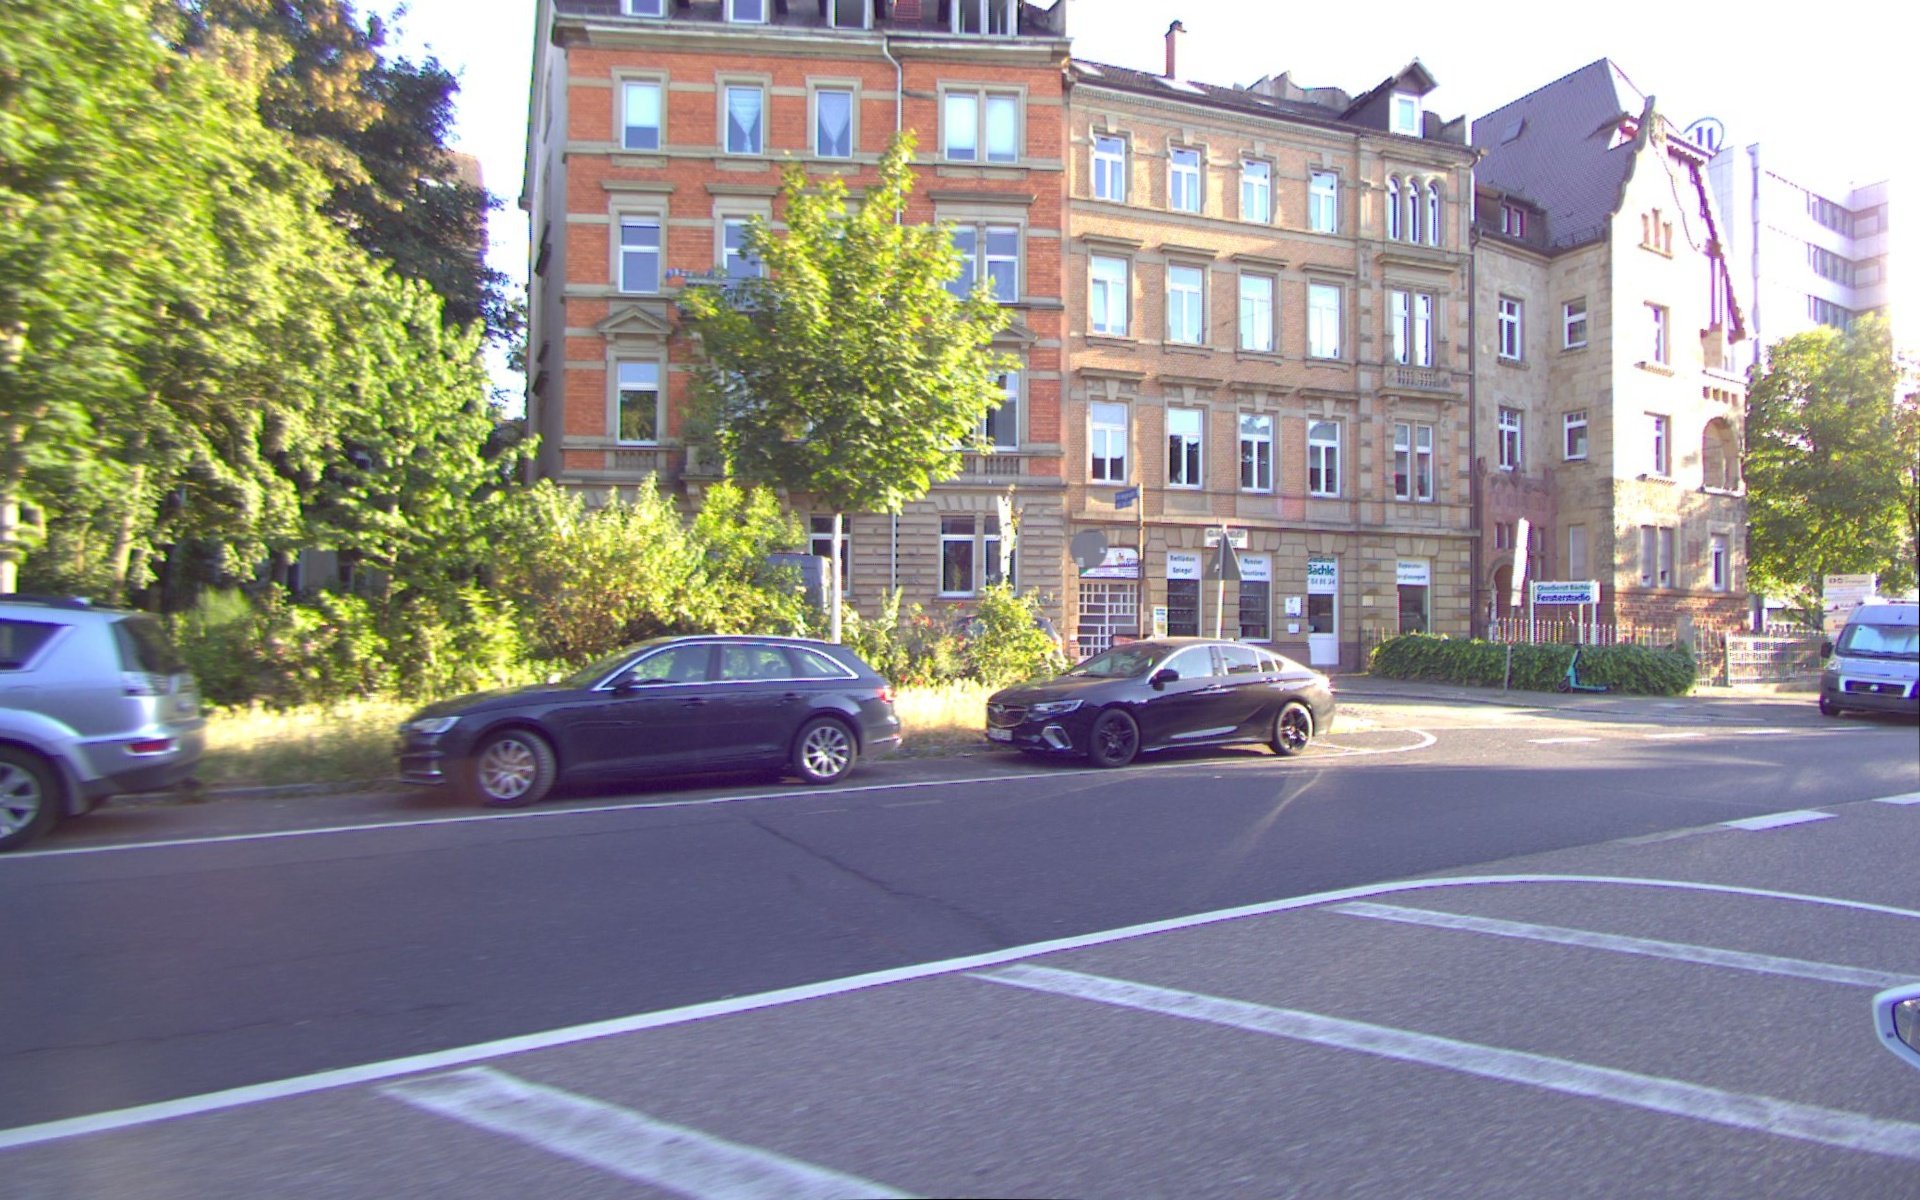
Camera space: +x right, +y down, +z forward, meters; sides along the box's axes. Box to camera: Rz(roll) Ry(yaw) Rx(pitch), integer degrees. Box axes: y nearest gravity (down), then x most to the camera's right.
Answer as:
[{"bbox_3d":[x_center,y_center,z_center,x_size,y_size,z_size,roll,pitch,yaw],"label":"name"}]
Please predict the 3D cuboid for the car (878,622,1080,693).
[{"bbox_3d":[0.370,1.314,23.310,4.476,1.557,1.999,0,-3,-6],"label":"car"}]

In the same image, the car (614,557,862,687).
[{"bbox_3d":[-4.856,0.518,22.698,5.208,2.775,2.126,0,-3,-4],"label":"car"}]

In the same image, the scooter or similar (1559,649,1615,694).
[{"bbox_3d":[15.203,1.732,24.361,1.095,1.071,0.288,-1,-3,13],"label":"scooter or similar"}]

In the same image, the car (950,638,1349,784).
[{"bbox_3d":[2.428,1.239,12.518,4.772,1.503,1.984,1,-2,-30],"label":"car"}]

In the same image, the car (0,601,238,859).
[{"bbox_3d":[-7.741,0.854,6.708,4.518,1.666,1.857,1,-3,-30],"label":"car"}]

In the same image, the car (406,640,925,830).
[{"bbox_3d":[-2.753,1.133,9.760,4.570,1.464,1.728,1,-2,-30],"label":"car"}]

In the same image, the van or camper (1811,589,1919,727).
[{"bbox_3d":[20.909,1.193,21.946,5.976,2.704,1.981,1,0,-34],"label":"van or camper"}]
